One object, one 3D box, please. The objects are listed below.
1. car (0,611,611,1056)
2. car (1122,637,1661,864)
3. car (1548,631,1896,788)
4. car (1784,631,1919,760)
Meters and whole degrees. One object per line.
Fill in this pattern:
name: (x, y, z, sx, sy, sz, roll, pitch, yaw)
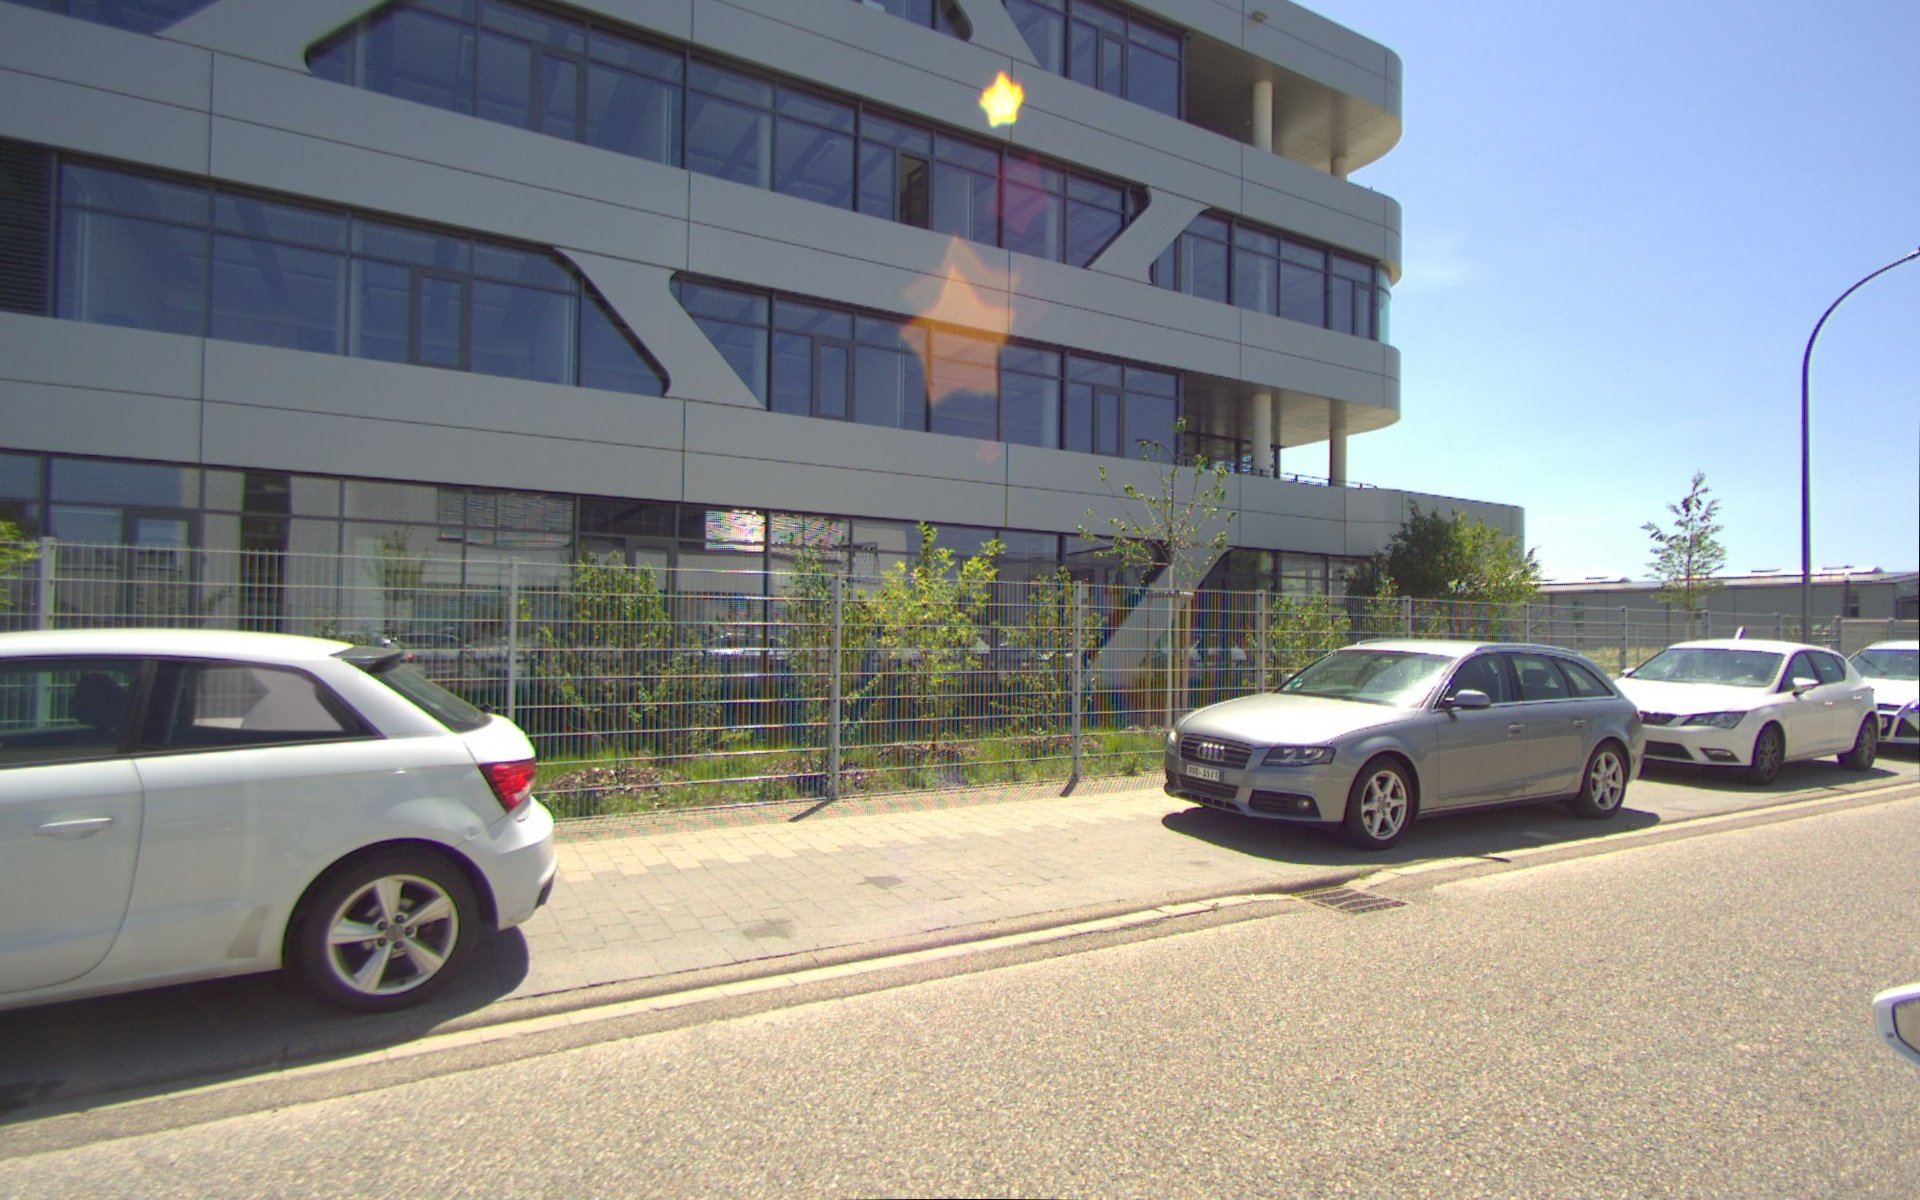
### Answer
car: (-3.552, 0.748, 3.859, 3.895, 1.404, 1.689, 1, -1, -33)
car: (3.666, 1.034, 8.277, 4.583, 1.404, 1.676, 1, -1, -30)
car: (8.864, 1.151, 11.585, 4.389, 1.463, 1.694, 2, -1, -31)
car: (13.632, 1.279, 14.166, 4.520, 1.556, 1.694, 2, -1, -31)
